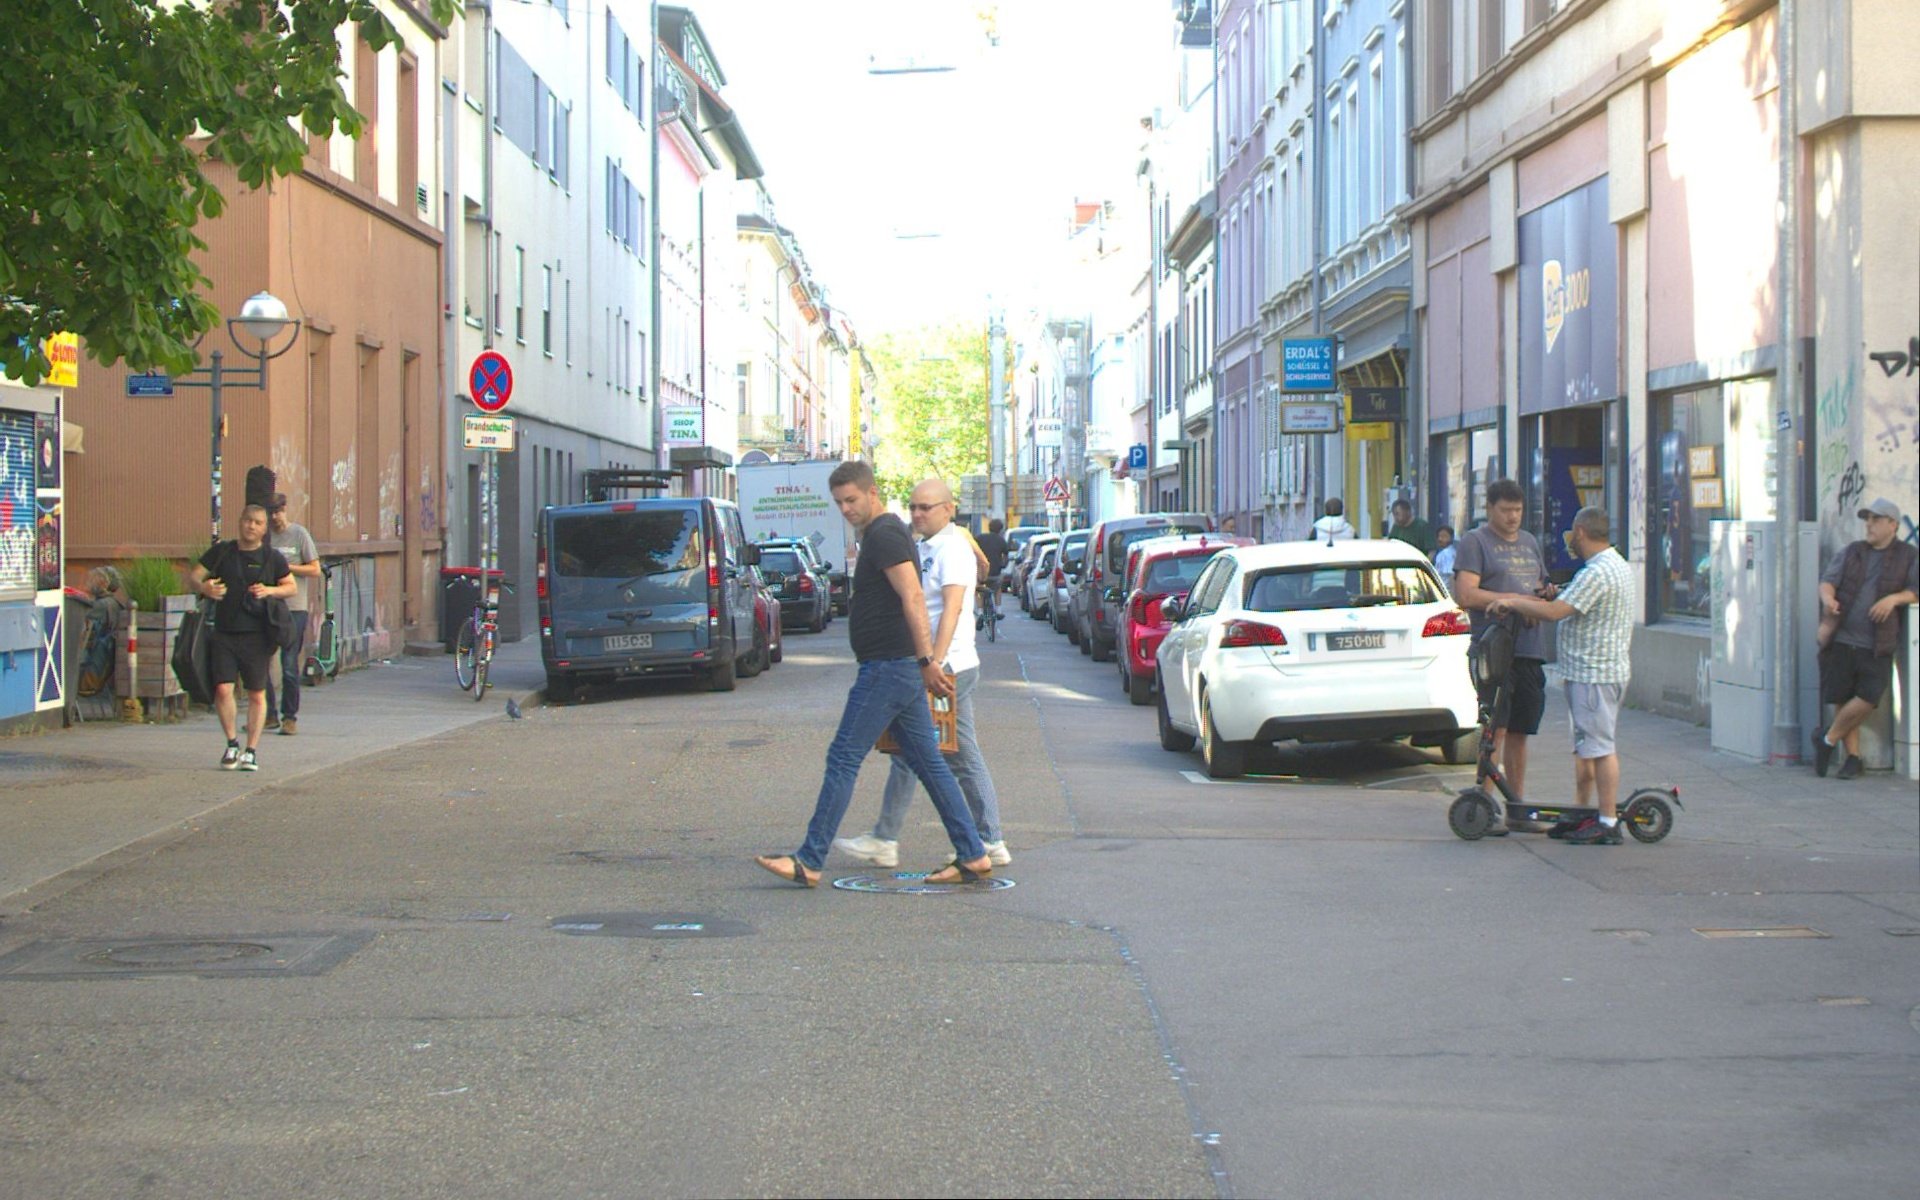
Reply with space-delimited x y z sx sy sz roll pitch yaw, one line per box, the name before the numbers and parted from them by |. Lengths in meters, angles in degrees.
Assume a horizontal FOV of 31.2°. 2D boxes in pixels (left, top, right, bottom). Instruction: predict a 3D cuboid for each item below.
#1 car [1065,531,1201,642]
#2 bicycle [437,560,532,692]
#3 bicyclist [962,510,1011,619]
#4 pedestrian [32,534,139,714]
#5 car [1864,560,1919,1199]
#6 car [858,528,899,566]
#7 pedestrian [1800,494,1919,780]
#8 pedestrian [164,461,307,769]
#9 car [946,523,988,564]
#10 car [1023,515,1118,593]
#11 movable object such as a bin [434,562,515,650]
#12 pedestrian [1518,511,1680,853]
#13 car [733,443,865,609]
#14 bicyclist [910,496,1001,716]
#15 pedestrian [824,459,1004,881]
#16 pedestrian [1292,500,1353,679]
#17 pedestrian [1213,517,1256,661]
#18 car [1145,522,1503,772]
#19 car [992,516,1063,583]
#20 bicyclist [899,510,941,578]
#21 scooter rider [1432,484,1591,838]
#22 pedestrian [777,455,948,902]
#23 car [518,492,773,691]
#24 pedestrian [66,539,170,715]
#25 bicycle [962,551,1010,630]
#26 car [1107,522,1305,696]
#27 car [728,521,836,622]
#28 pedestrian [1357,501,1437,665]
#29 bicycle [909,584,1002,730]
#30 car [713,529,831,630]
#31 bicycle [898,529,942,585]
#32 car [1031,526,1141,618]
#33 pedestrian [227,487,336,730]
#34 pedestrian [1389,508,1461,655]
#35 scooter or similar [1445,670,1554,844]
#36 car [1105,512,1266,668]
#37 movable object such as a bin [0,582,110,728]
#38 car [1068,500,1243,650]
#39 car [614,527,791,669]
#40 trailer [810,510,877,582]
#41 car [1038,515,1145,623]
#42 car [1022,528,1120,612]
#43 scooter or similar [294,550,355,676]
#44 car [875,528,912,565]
car | 2.418 -0.205 48.868 1.552 1.506 3.612 1 1 -3
bicycle | -4.536 0.231 32.730 0.550 1.212 1.989 1 1 -18
bicyclist | 0.386 -0.520 50.156 0.671 1.562 0.716 1 0 0
pedestrian | -7.118 0.194 28.005 0.705 1.440 0.617 1 0 -1
car | 2.646 0.689 4.681 1.689 1.458 3.641 1 1 -3
car | -3.699 -2.403 156.365 1.750 1.678 3.796 -1 1 0
pedestrian | 5.313 0.204 20.237 0.600 1.644 0.464 1 4 31
pedestrian | -4.476 0.088 21.280 0.716 1.867 0.720 1 0 -1
car | 0.260 -2.192 133.370 1.611 1.554 3.610 0 1 0
car | 2.424 -1.042 76.371 1.918 1.700 4.366 0 1 -1
movable object such as a bin | -6.002 0.073 42.512 0.760 1.063 0.651 1 1 20
pedestrian | 3.121 0.388 16.779 0.528 1.633 0.564 1 1 44
car | -3.372 -1.551 73.523 2.343 3.280 7.154 -2 1 0
bicyclist | -0.039 0.039 26.764 0.667 1.671 1.097 1 0 -1
pedestrian | -0.212 0.302 15.330 0.761 1.829 0.688 1 0 -2
pedestrian | 3.552 -0.106 33.677 0.561 1.734 0.427 1 0 6
pedestrian | 3.258 -0.133 40.841 0.441 1.698 0.654 1 0 0
car | 2.352 0.267 23.211 1.787 1.511 4.137 1 1 -3
car | 1.928 -1.453 99.618 1.750 1.872 3.973 -1 1 -3
bicyclist | -0.966 -1.374 84.017 0.950 1.622 0.953 -2 1 1
scooter rider | 2.823 0.299 17.586 0.564 1.772 0.610 1 1 35
pedestrian | -0.412 0.310 14.491 0.693 1.819 1.003 0 1 -2
car | -3.152 -0.151 35.481 2.020 1.873 5.297 1 1 1
pedestrian | -7.013 0.222 28.668 0.705 1.440 0.617 1 0 -1
bicycle | 0.368 -0.148 50.228 0.648 1.125 2.136 1 1 -1
car | 2.327 0.063 33.269 1.606 1.567 3.554 1 1 0
car | -3.203 -0.543 62.574 1.716 1.644 4.246 -3 2 -1
pedestrian | 4.680 -0.183 36.845 0.628 1.734 0.659 1 0 -13
bicycle | -0.046 0.421 26.772 0.677 1.071 1.942 1 1 -1
car | -3.077 -0.370 56.990 1.716 1.473 4.499 -3 2 -1
bicycle | -0.966 -1.056 84.256 0.977 1.310 2.555 -1 1 1
car | 2.233 -0.516 61.835 1.696 1.538 4.629 -2 1 -1
pedestrian | -5.218 0.063 26.462 0.646 1.827 0.697 2 0 -1
pedestrian | 4.872 -0.197 36.075 0.587 1.524 0.659 1 0 -6
scooter or similar | 2.722 0.783 17.400 0.393 0.825 0.926 1 1 0
car | 2.442 -0.121 37.861 1.570 1.551 3.314 -3 0 2
movable object such as a bin | -7.054 0.411 26.336 0.870 1.083 0.774 1 1 0
car | 2.435 -0.323 43.776 1.899 1.787 4.315 1 1 -1
car | -3.018 -0.041 40.934 1.750 1.517 3.869 -3 0 0
trailer | -3.462 -1.604 102.895 1.882 2.085 3.737 -1 1 0
car | 2.154 -0.517 57.066 1.556 1.706 3.559 1 1 -1
car | 2.159 -0.599 67.865 1.686 1.538 4.046 -2 1 -1
scooter or similar | -6.257 0.120 33.880 0.347 1.212 1.392 1 1 -1
car | -3.352 -2.674 173.729 1.750 1.815 3.796 -1 1 0
